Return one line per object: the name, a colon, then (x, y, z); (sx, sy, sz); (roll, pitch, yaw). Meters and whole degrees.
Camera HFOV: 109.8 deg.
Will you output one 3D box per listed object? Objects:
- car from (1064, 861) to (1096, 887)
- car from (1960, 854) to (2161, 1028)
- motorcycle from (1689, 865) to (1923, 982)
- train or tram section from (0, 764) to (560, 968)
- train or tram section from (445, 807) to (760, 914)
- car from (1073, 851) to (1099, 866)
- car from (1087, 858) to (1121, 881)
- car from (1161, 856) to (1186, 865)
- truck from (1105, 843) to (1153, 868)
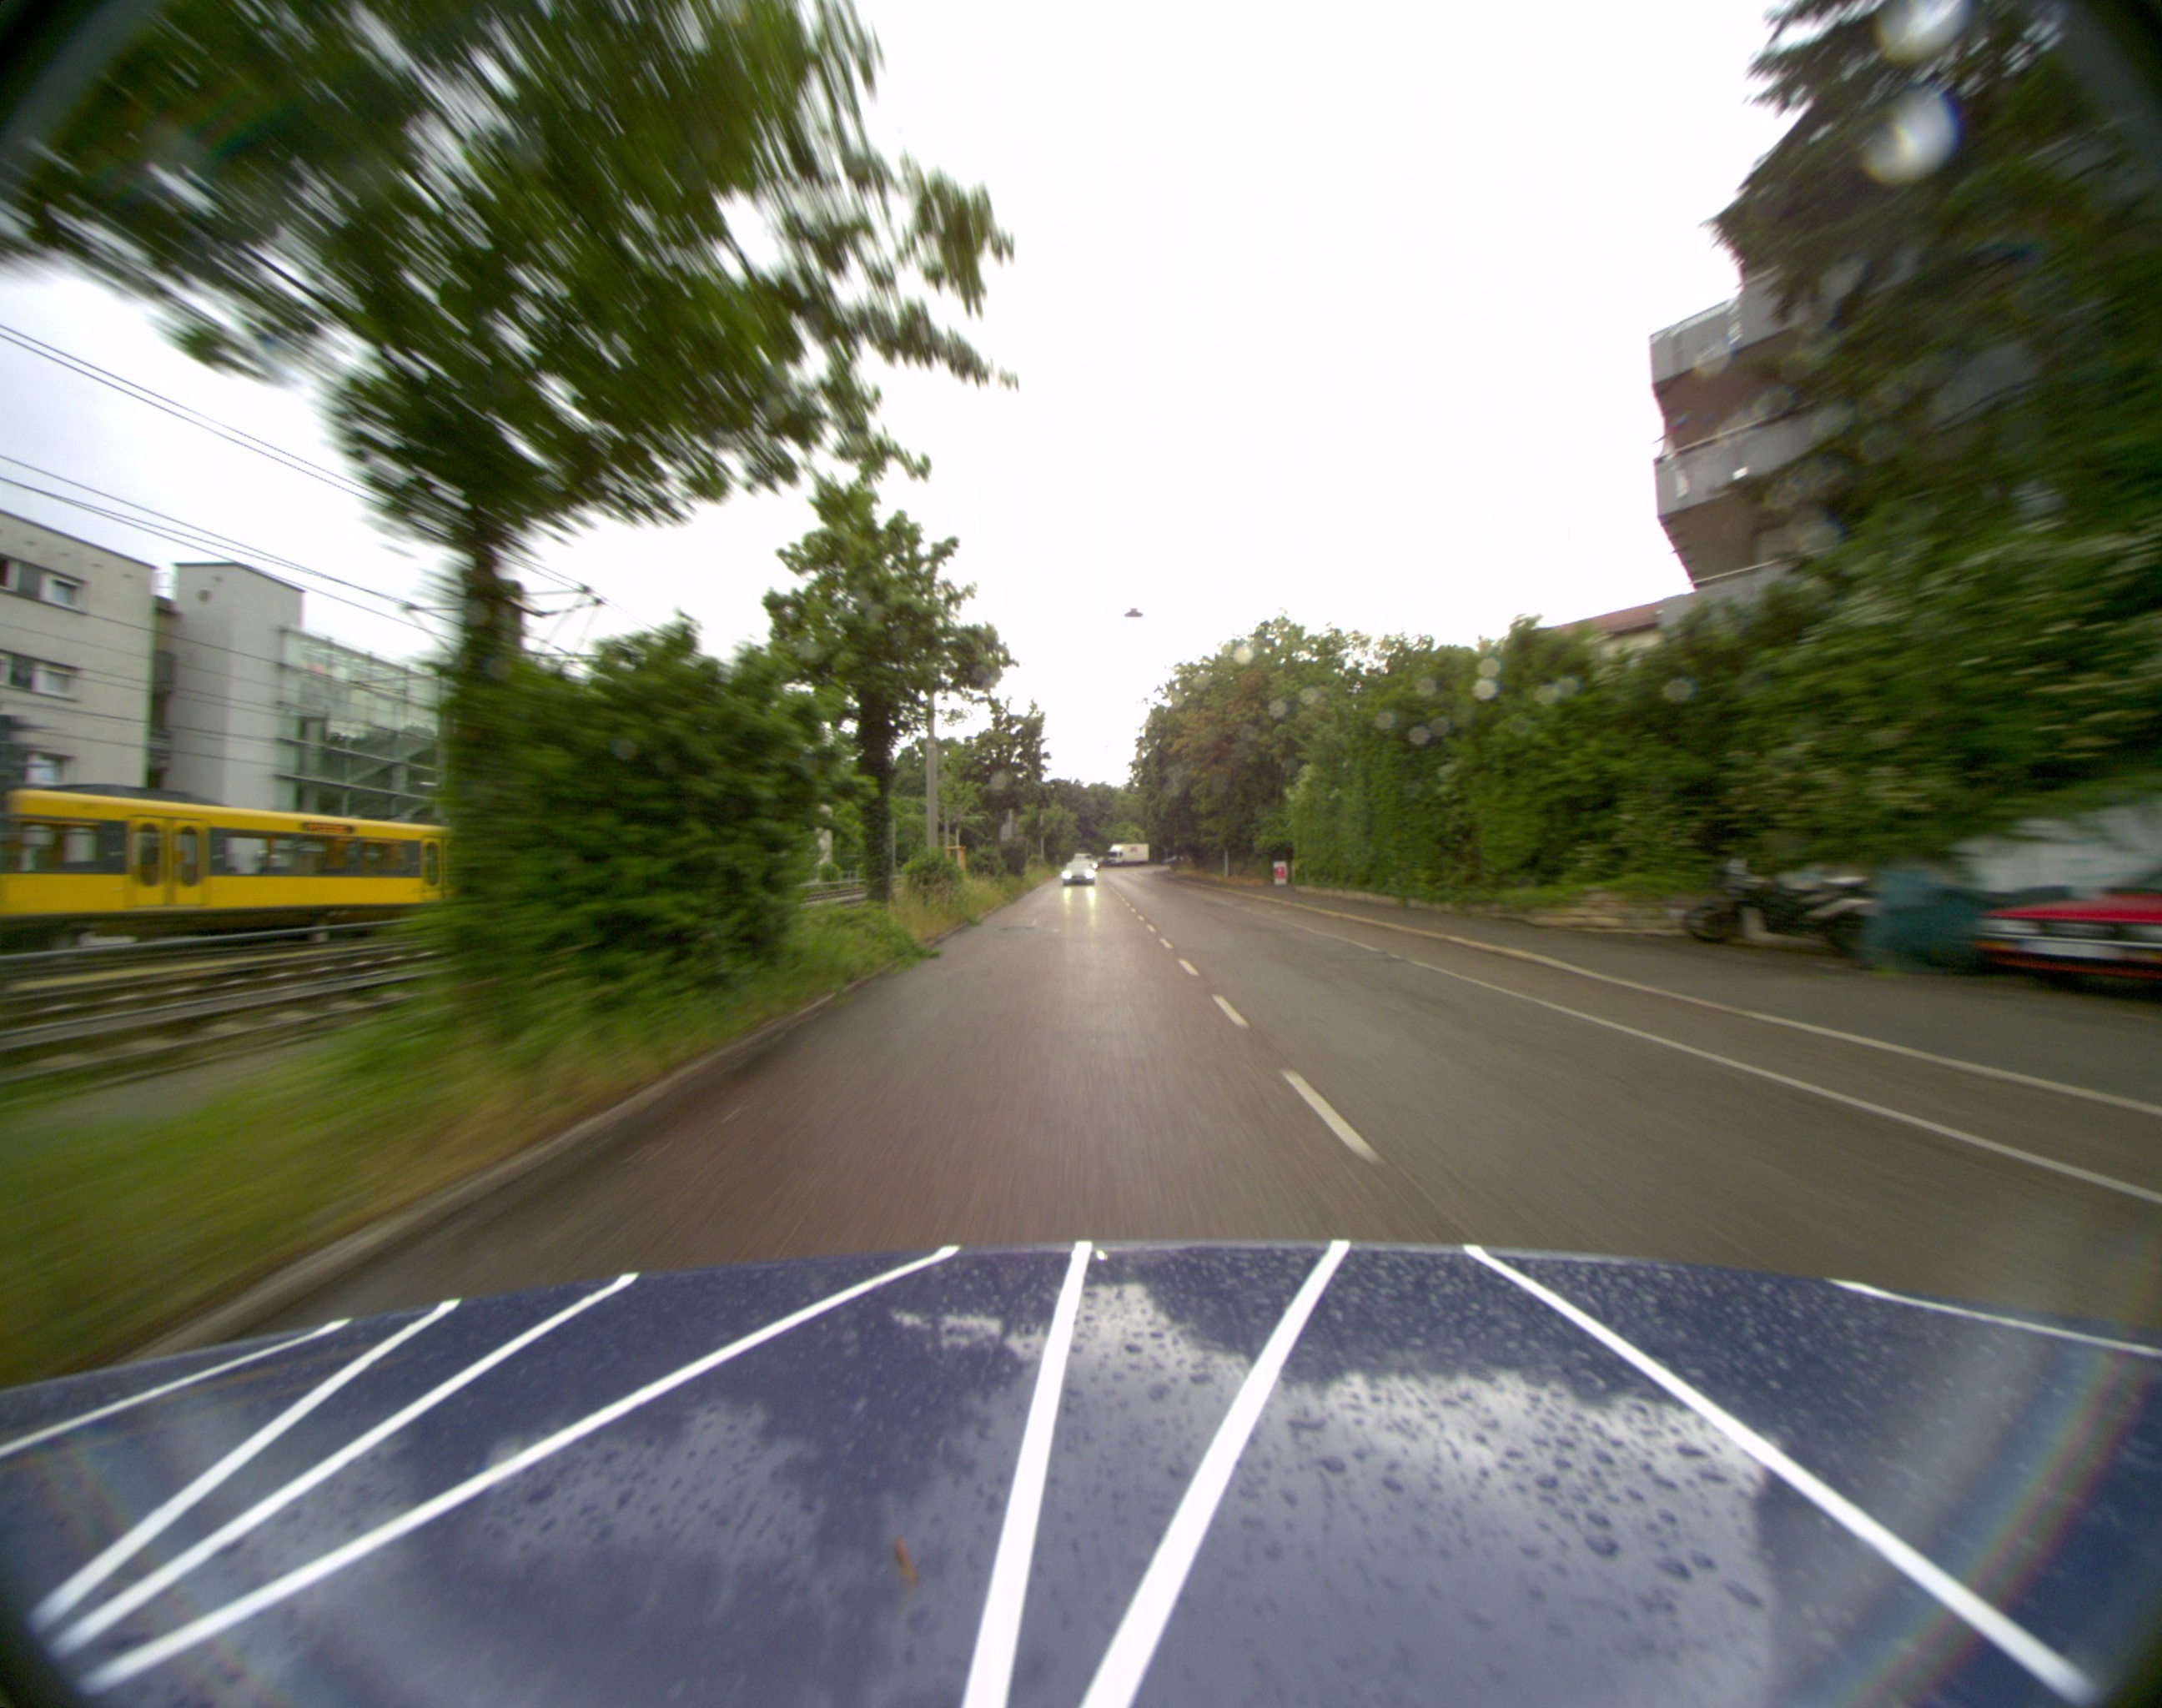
car: (-0.043, 1.206, 47.817); (1.899, 1.530, 4.500); (-1, 0, 0)
car: (10.891, 0.719, 7.102); (3.642, 1.397, 1.715); (-2, 1, -6)
motorcycle: (9.455, 0.830, 10.083); (0.619, 1.313, 2.318); (-2, 1, -11)
train or tram section: (-22.375, 0.263, 20.510); (3.339, 3.924, 18.813); (-2, 0, 1)
train or tram section: (-22.148, 0.373, 38.328); (3.339, 3.923, 19.284); (-2, -1, 1)
car: (0.729, 0.645, 105.071); (1.878, 2.002, 4.698); (1, 1, 22)
car: (1.741, 1.126, 56.415); (1.997, 1.660, 4.533); (-1, 0, 9)
car: (15.422, 1.032, 126.259); (4.132, 1.435, 1.721); (-2, 0, -39)
truck: (7.496, 0.225, 117.993); (3.008, 3.553, 8.352); (-1, 1, 40)
